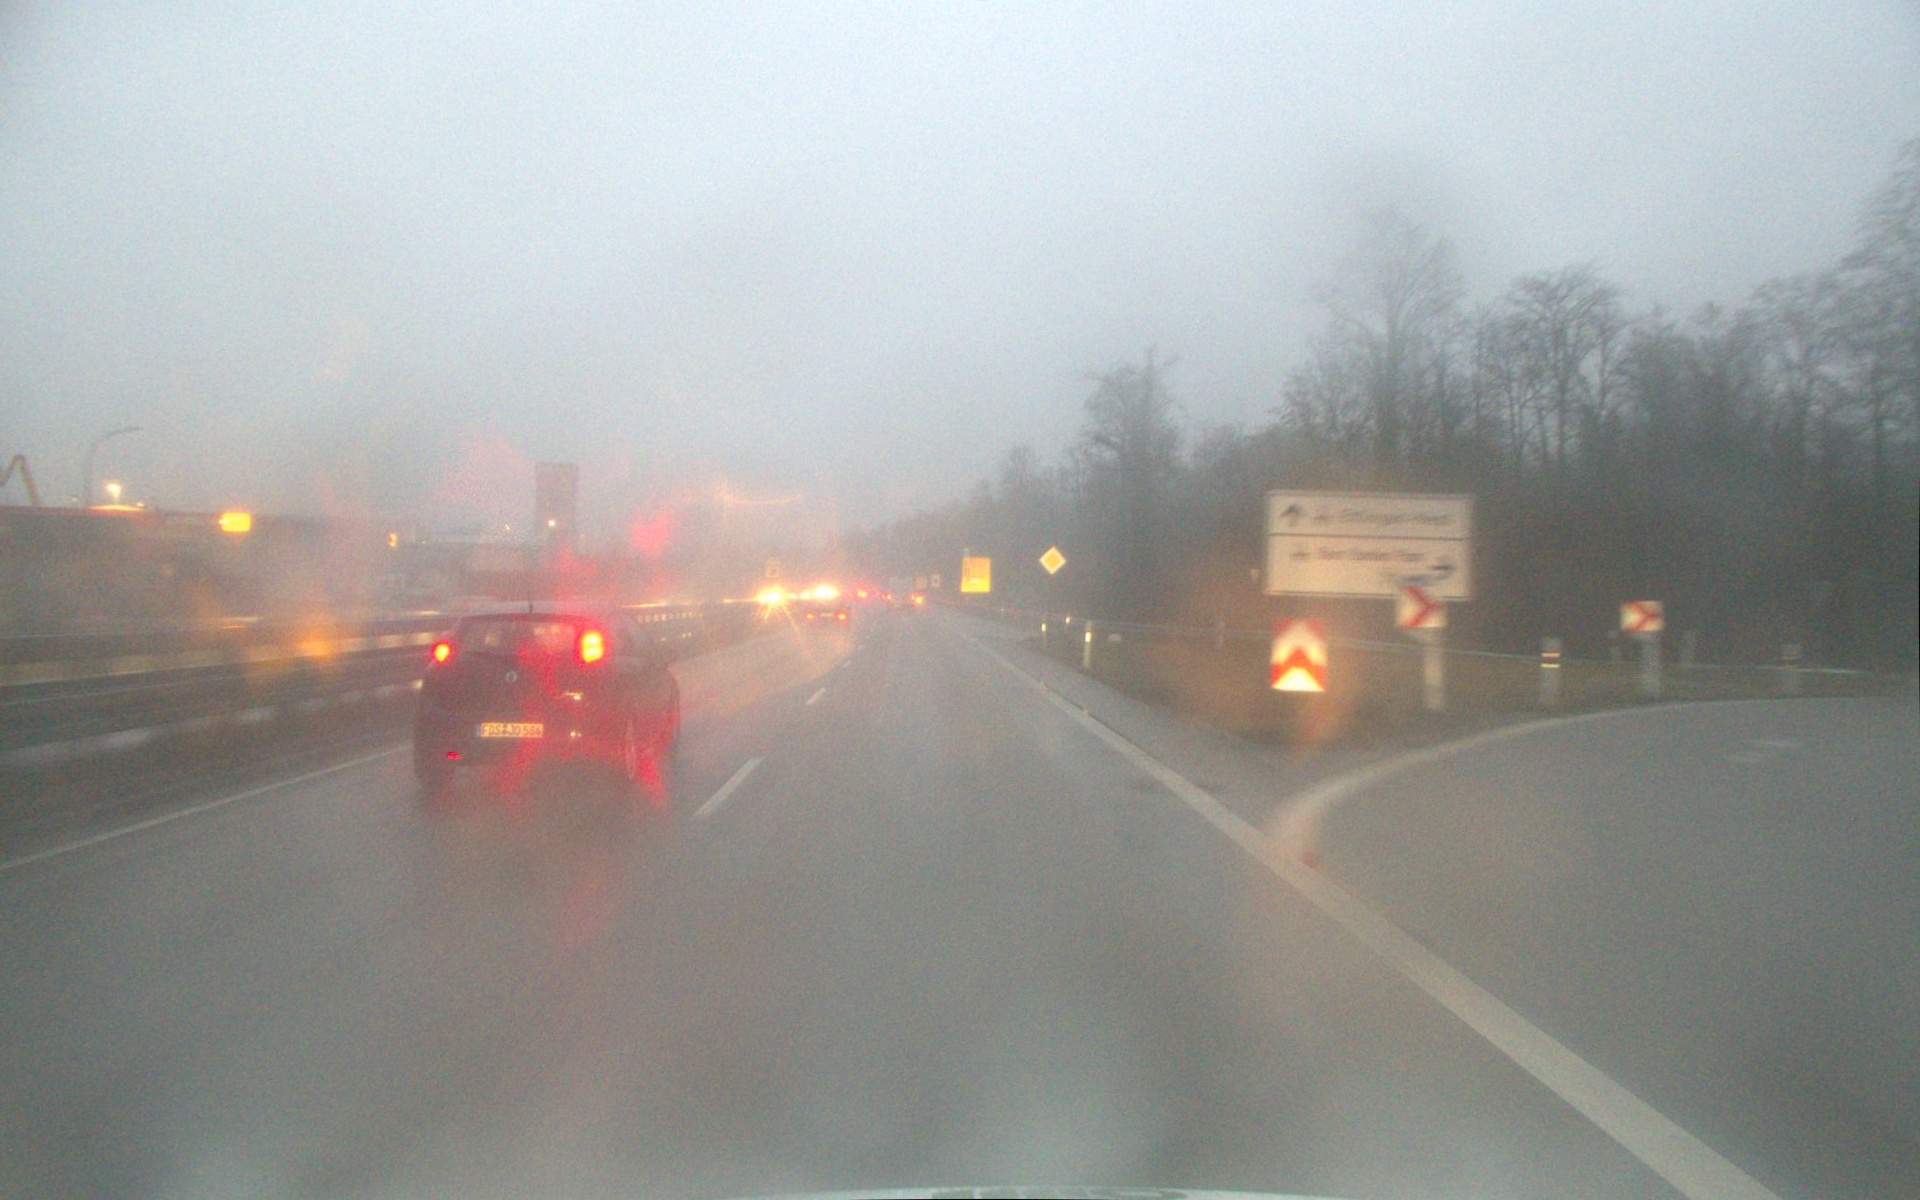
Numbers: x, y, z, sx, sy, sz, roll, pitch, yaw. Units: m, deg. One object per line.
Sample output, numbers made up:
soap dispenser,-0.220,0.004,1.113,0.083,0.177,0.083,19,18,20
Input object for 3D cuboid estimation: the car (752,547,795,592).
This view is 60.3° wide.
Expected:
car,-9.471,-1.506,83.951,2.083,2.158,3.569,2,0,-7

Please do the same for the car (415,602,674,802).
car,-3.524,0.794,14.583,1.497,1.440,3.477,3,1,-3

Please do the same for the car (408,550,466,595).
car,-23.583,-1.235,74.702,1.855,1.853,3.866,3,0,-9

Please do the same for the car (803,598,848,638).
car,-5.357,0.703,66.437,1.741,1.561,4.699,0,0,-4
